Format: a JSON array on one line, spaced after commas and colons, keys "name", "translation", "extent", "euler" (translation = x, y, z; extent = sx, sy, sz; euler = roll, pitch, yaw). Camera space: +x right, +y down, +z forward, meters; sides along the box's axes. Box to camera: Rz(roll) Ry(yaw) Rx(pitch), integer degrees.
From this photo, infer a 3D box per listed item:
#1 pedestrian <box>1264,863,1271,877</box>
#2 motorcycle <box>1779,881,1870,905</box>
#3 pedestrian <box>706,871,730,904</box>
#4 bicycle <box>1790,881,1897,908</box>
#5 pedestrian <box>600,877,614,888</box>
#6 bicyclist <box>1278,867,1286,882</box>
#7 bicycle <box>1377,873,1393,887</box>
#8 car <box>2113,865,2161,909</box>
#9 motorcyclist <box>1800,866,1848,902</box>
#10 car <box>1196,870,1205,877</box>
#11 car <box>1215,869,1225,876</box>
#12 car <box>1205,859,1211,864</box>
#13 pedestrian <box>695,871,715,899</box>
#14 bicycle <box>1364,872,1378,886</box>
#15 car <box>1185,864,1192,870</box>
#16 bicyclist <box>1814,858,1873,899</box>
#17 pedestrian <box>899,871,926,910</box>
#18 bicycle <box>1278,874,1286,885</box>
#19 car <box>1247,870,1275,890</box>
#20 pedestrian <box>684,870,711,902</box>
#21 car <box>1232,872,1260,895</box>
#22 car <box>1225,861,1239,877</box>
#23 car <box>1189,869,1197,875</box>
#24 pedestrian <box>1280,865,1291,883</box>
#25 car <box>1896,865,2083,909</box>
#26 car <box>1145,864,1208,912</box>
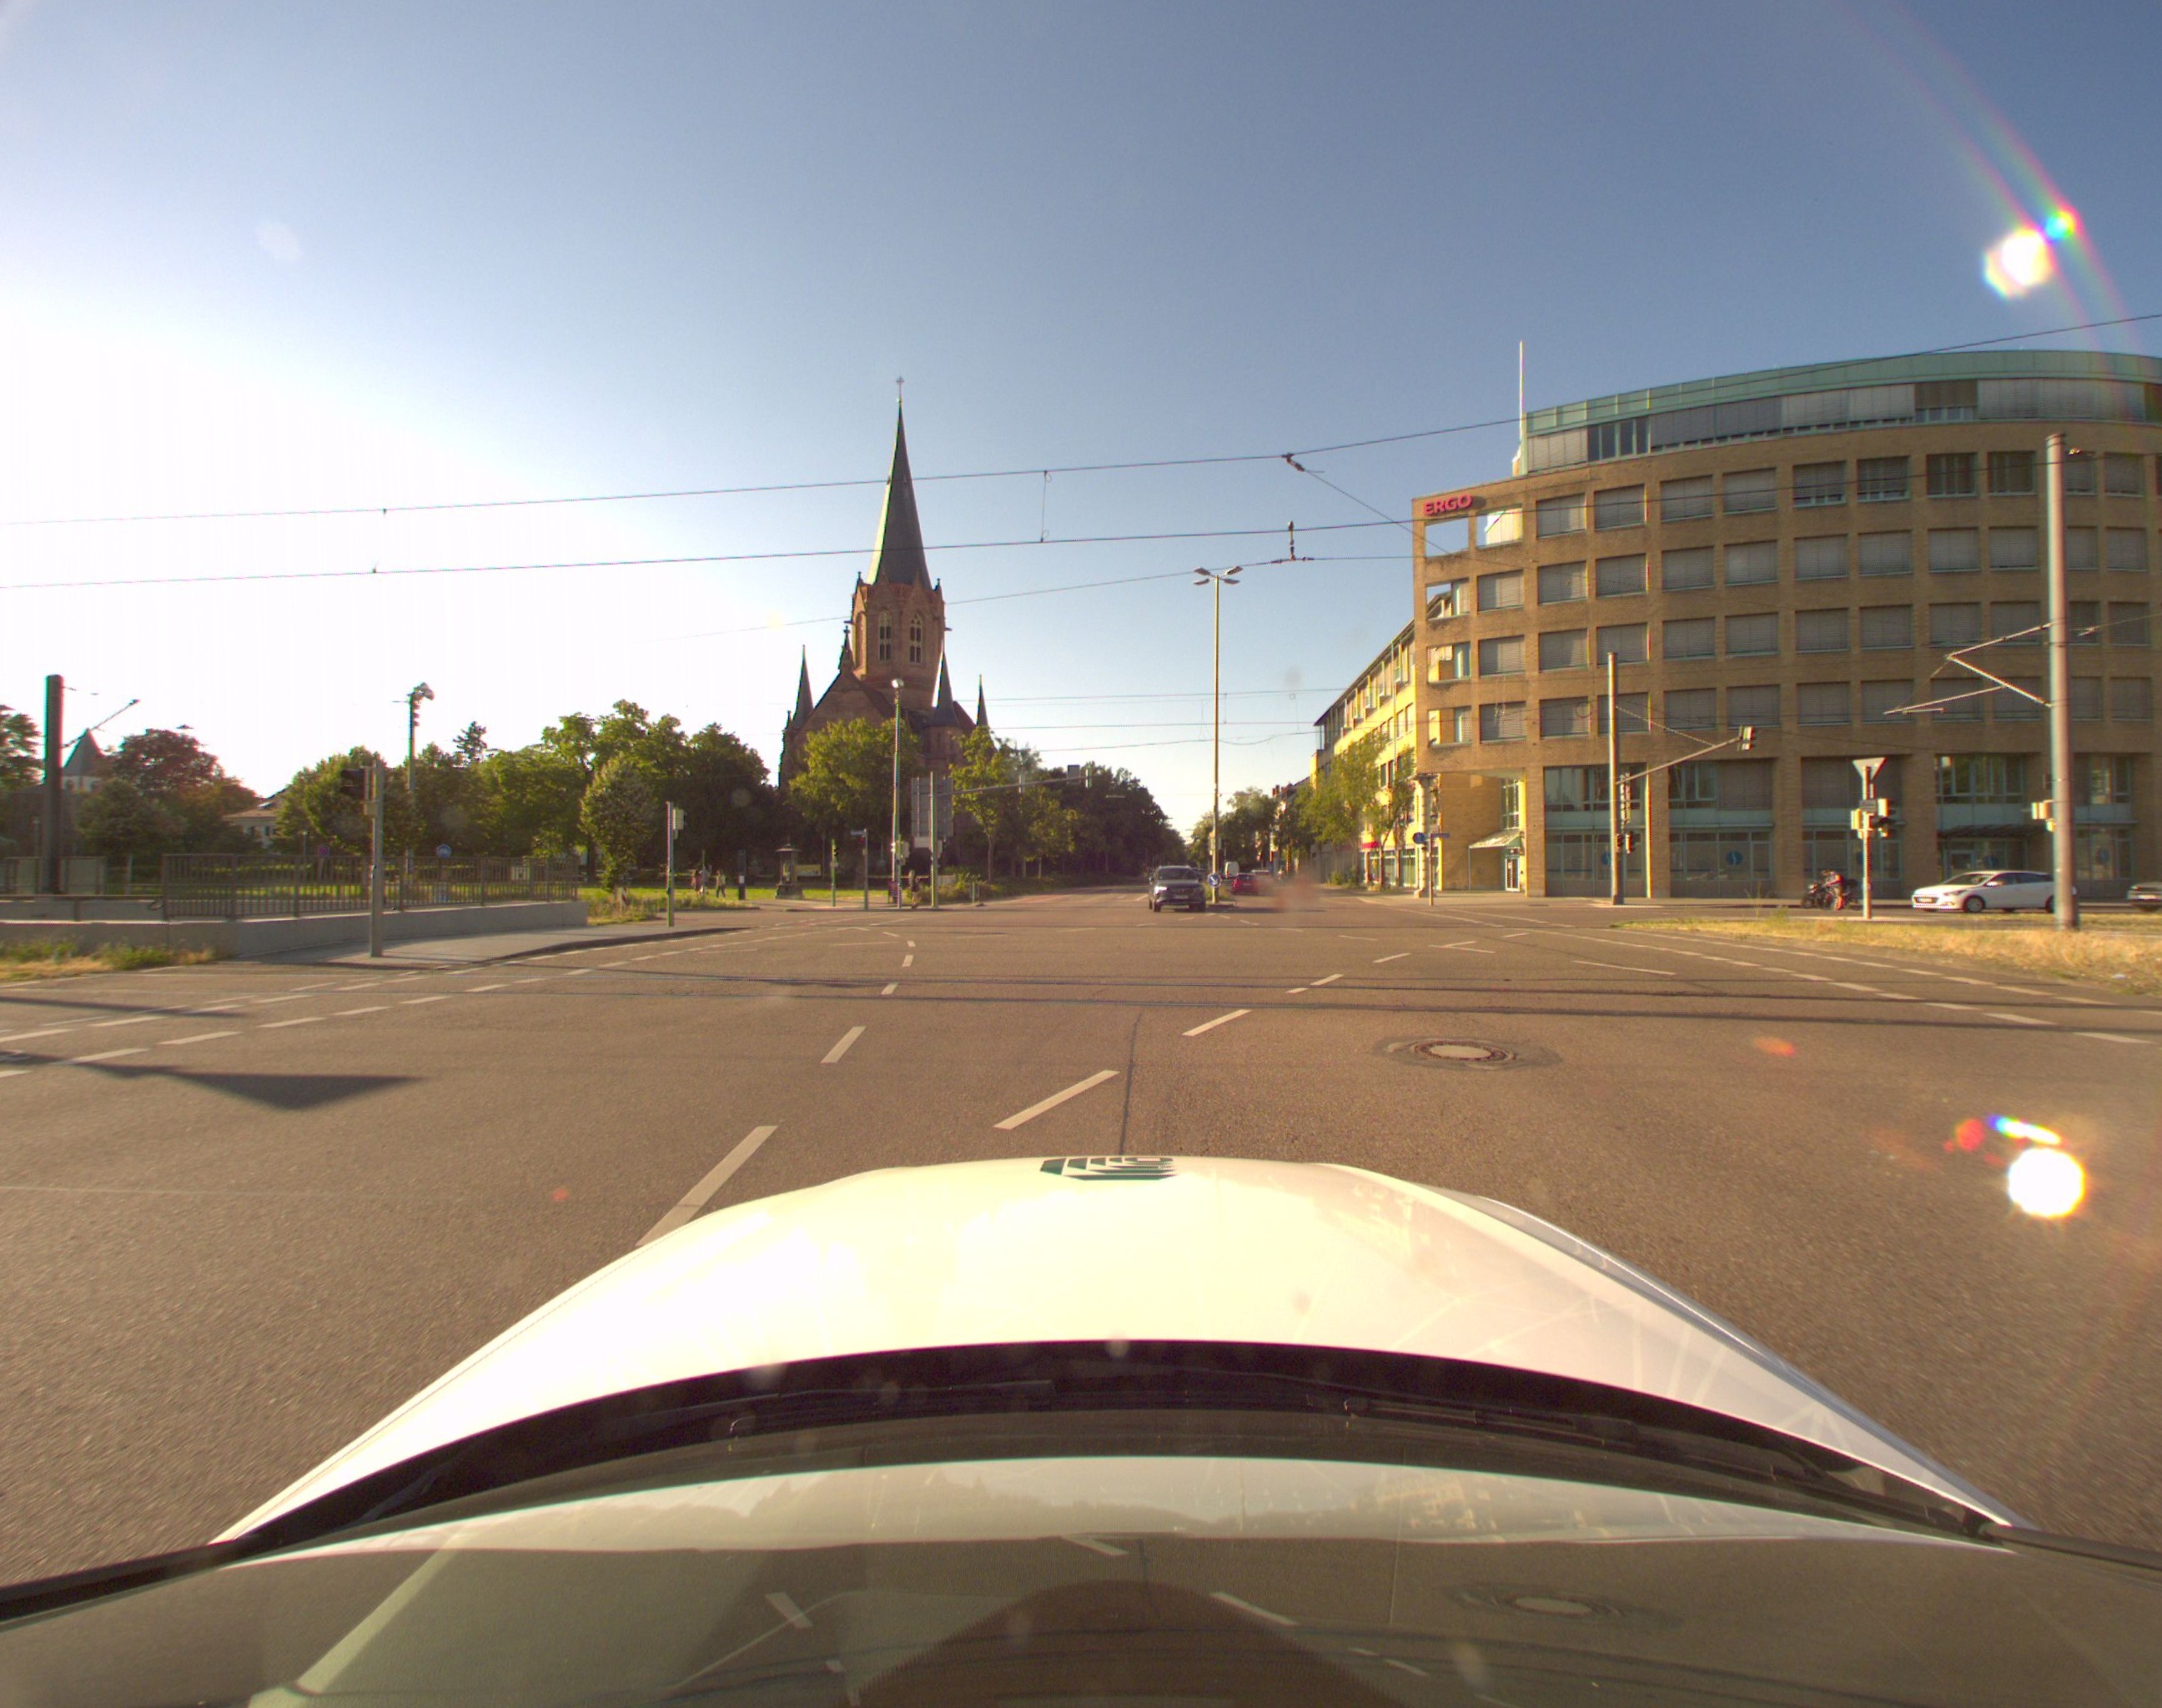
[{"name": "pedestrian", "translation": [25.038, 2.176, 109.517], "extent": [0.843, 1.803, 0.777], "euler": [-1, -1, 8]}, {"name": "motorcycle", "translation": [30.938, 1.633, 33.946], "extent": [2.703, 0.964, 1.034], "euler": [0, -1, 7]}, {"name": "pedestrian", "translation": [-19.122, 1.759, 42.930], "extent": [0.884, 1.696, 0.714], "euler": [0, -1, 28]}, {"name": "bicycle", "translation": [29.595, 1.574, 31.676], "extent": [2.945, 1.000, 1.156], "euler": [-1, -1, 6]}, {"name": "pedestrian", "translation": [-43.827, 2.629, 75.270], "extent": [0.802, 0.953, 1.169], "euler": [1, -1, -13]}, {"name": "bicyclist", "translation": [19.206, 1.940, 77.844], "extent": [0.588, 1.369, 0.932], "euler": [1, 0, 8]}, {"name": "bicycle", "translation": [21.970, 1.861, 58.889], "extent": [0.642, 0.995, 2.085], "euler": [0, -1, 7]}, {"name": "car", "translation": [38.644, 1.104, 27.864], "extent": [4.030, 1.492, 1.824], "euler": [0, -1, 7]}, {"name": "motorcyclist", "translation": [30.951, 1.242, 33.954], "extent": [1.059, 1.435, 1.034], "euler": [0, -1, 7]}, {"name": "car", "translation": [21.488, 3.545, 146.907], "extent": [1.585, 1.267, 3.274], "euler": [-1, -1, 8]}, {"name": "car", "translation": [25.053, 3.373, 146.938], "extent": [1.585, 1.267, 3.274], "euler": [-1, -1, 8]}, {"name": "car", "translation": [36.556, 2.215, 233.963], "extent": [1.585, 1.267, 3.274], "euler": [-1, -1, 8]}, {"name": "pedestrian", "translation": [-23.375, 1.922, 50.634], "extent": [1.016, 1.696, 0.839], "euler": [1, -1, -19]}, {"name": "bicycle", "translation": [22.579, 1.941, 63.421], "extent": [0.642, 0.995, 2.085], "euler": [0, -1, 7]}, {"name": "car", "translation": [30.388, 3.746, 230.566], "extent": [1.876, 1.671, 4.009], "euler": [1, -1, 8]}, {"name": "bicyclist", "translation": [29.637, 0.945, 31.685], "extent": [1.216, 1.572, 1.156], "euler": [-1, -1, 6]}, {"name": "pedestrian", "translation": [-7.713, 1.671, 37.340], "extent": [0.959, 1.739, 0.814], "euler": [0, -1, 9]}, {"name": "bicycle", "translation": [19.200, 2.414, 77.857], "extent": [0.588, 0.943, 1.983], "euler": [1, 0, 8]}, {"name": "car", "translation": [14.906, 2.119, 67.671], "extent": [1.906, 1.607, 4.279], "euler": [1, -1, 8]}, {"name": "pedestrian", "translation": [-20.858, 1.746, 44.254], "extent": [1.004, 1.696, 0.849], "euler": [0, -1, 28]}, {"name": "car", "translation": [11.142, 1.956, 55.235], "extent": [1.660, 1.462, 4.009], "euler": [1, -1, 8]}, {"name": "car", "translation": [22.943, 2.280, 123.864], "extent": [1.982, 2.440, 4.009], "euler": [1, -1, 8]}, {"name": "car", "translation": [24.814, 3.995, 180.052], "extent": [1.585, 1.267, 3.274], "euler": [-1, -1, 8]}, {"name": "pedestrian", "translation": [22.995, 2.222, 91.696], "extent": [1.101, 1.976, 1.164], "euler": [0, -1, 8]}, {"name": "car", "translation": [31.821, 1.152, 28.645], "extent": [4.142, 1.492, 1.998], "euler": [0, -1, 5]}, {"name": "car", "translation": [3.680, 1.309, 32.202], "extent": [1.986, 1.724, 5.032], "euler": [-1, -2, 1]}]
